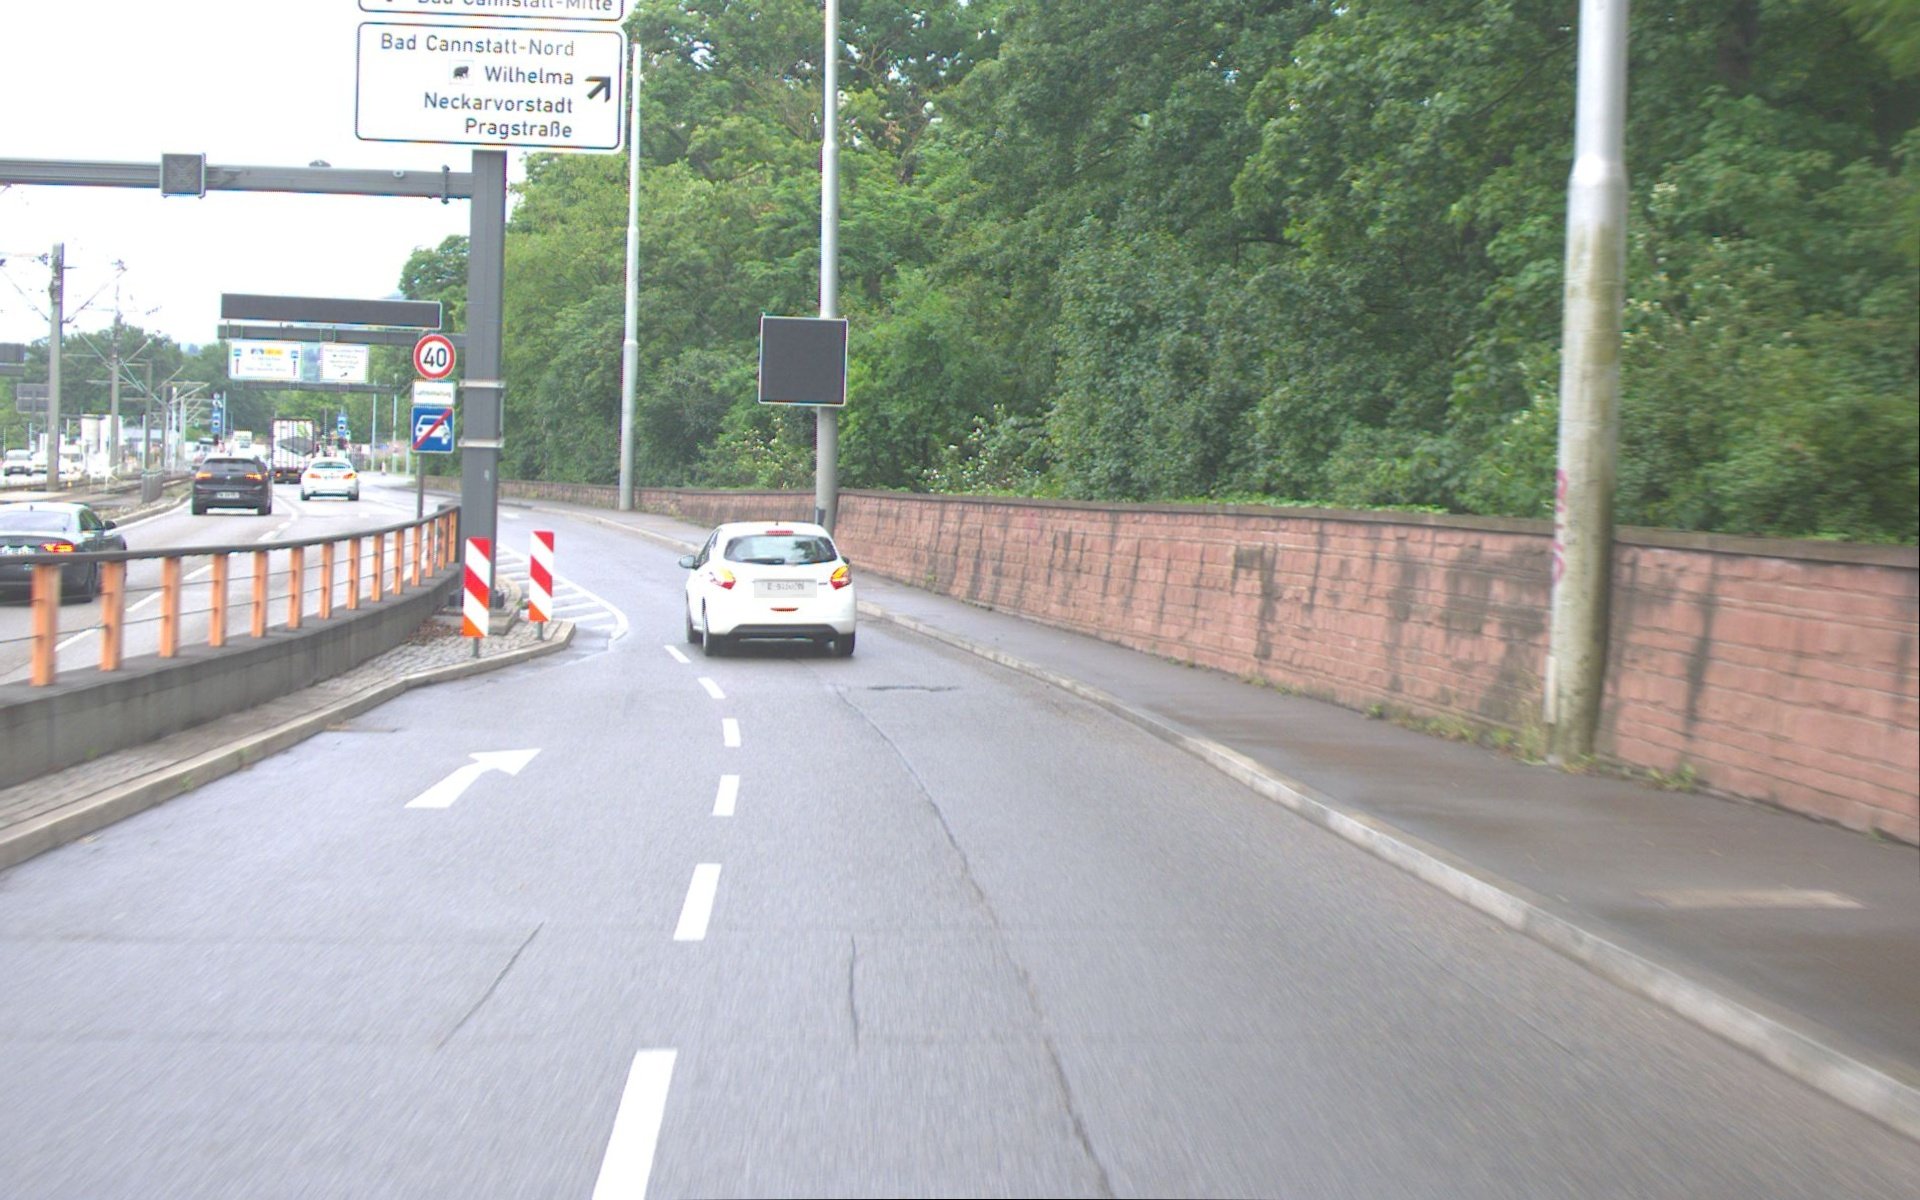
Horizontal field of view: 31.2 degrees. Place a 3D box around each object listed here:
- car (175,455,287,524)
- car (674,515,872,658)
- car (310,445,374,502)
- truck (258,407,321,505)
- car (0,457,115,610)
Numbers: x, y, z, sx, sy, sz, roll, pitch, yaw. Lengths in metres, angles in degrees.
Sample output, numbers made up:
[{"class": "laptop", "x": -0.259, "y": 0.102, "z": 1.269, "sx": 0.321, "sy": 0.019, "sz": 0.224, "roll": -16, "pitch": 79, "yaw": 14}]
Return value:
[{"class": "car", "x": -17.162, "y": -2.589, "z": 81.124, "sx": 1.993, "sy": 1.570, "sz": 4.001, "roll": 0, "pitch": 1, "yaw": -3}, {"class": "car", "x": -2.189, "y": -0.114, "z": 39.255, "sx": 1.955, "sy": 1.483, "sz": 4.000, "roll": 2, "pitch": -1, "yaw": -7}, {"class": "car", "x": -20.935, "y": -4.257, "z": 116.420, "sx": 2.081, "sy": 1.866, "sz": 4.097, "roll": 0, "pitch": 1, "yaw": -11}, {"class": "truck", "x": -42.179, "y": -8.970, "z": 216.530, "sx": 3.464, "sy": 5.382, "sz": 12.054, "roll": 2, "pitch": -1, "yaw": -10}, {"class": "car", "x": -13.318, "y": -0.990, "z": 49.361, "sx": 1.721, "sy": 1.884, "sz": 3.537, "roll": 1, "pitch": 5, "yaw": -4}]
